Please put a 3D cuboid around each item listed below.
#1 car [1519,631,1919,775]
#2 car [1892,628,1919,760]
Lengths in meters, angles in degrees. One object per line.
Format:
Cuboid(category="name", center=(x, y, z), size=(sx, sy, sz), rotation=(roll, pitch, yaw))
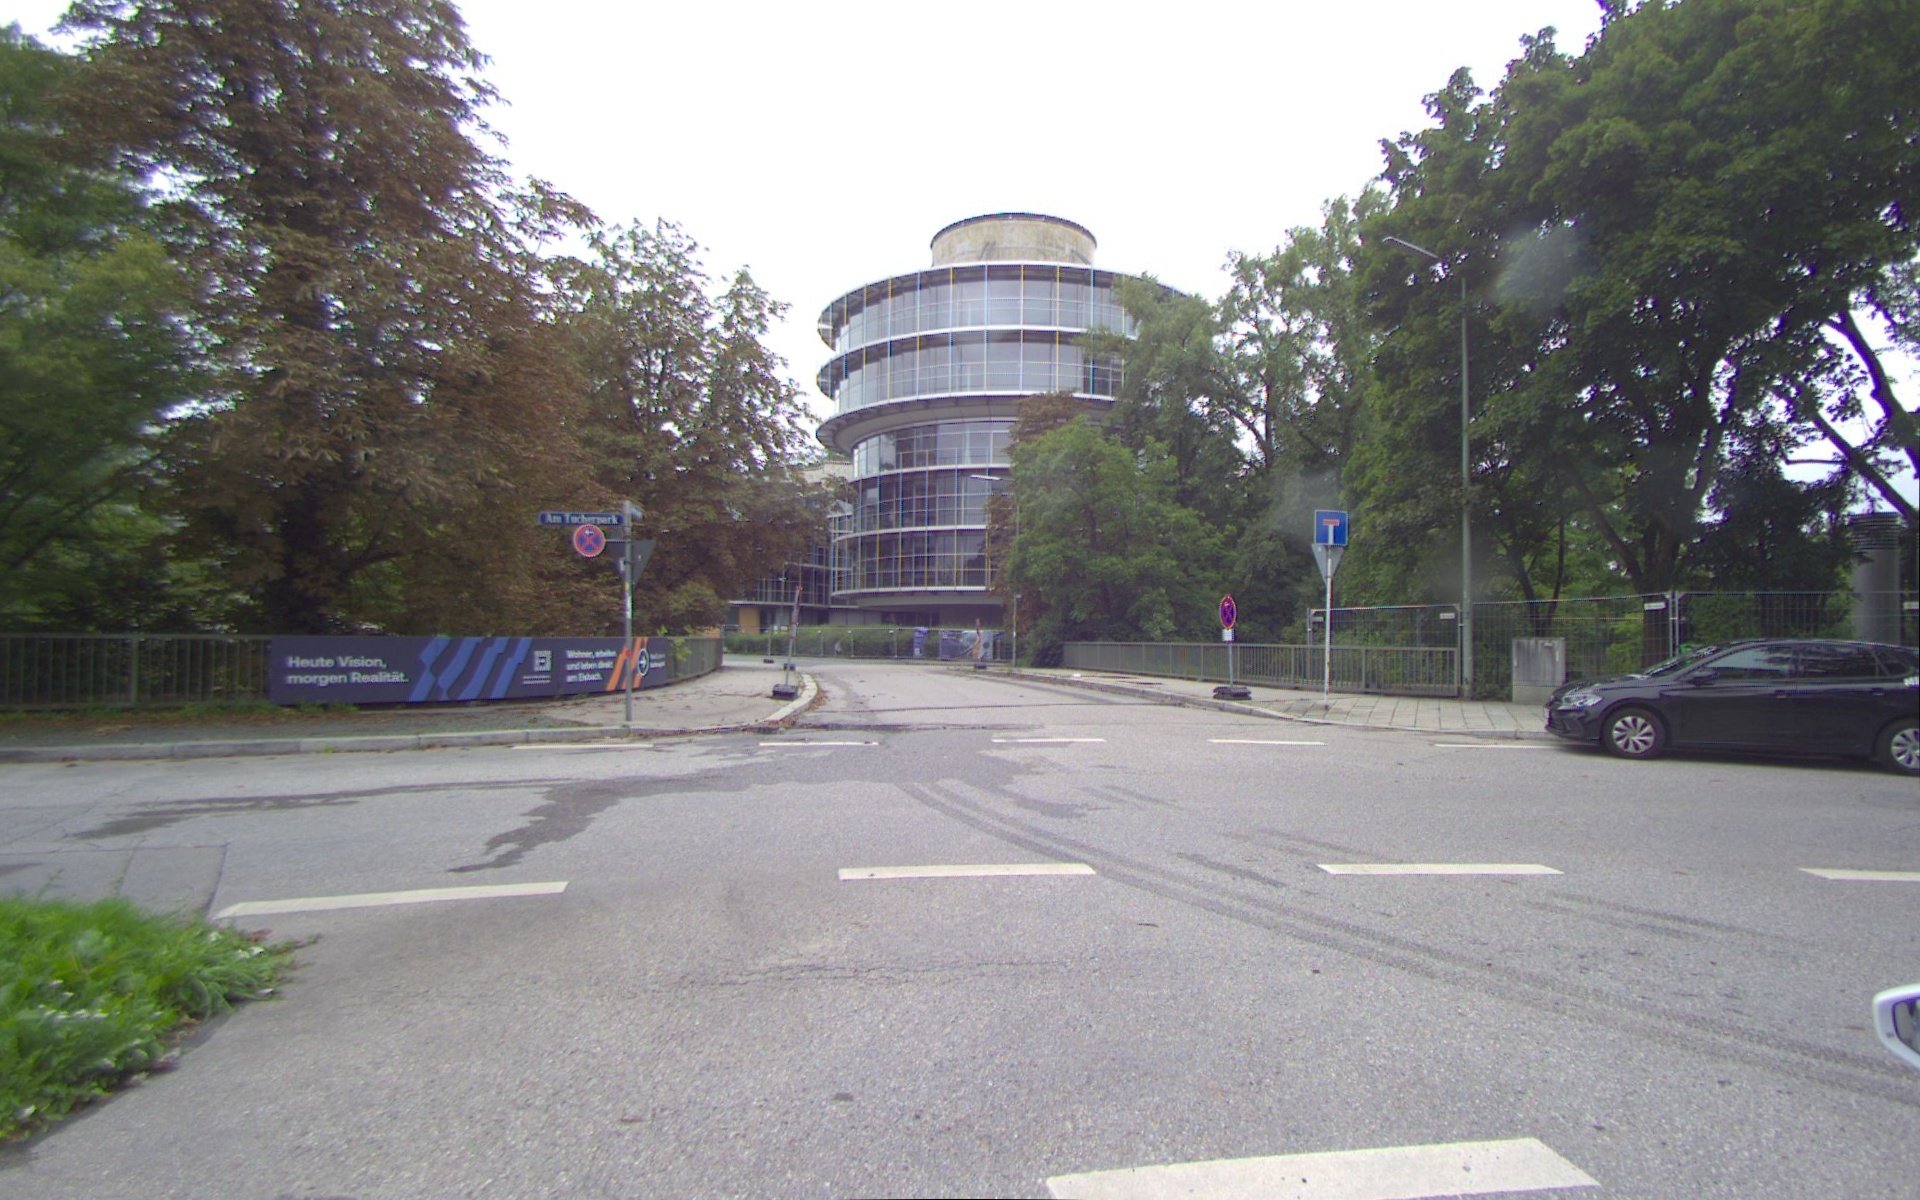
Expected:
Cuboid(category="car", center=(9.161, 1.140, 12.149), size=(3.964, 1.452, 1.999), rotation=(0, -1, 22))
Cuboid(category="car", center=(13.015, 1.098, 10.783), size=(3.922, 1.561, 2.000), rotation=(0, -1, 21))
